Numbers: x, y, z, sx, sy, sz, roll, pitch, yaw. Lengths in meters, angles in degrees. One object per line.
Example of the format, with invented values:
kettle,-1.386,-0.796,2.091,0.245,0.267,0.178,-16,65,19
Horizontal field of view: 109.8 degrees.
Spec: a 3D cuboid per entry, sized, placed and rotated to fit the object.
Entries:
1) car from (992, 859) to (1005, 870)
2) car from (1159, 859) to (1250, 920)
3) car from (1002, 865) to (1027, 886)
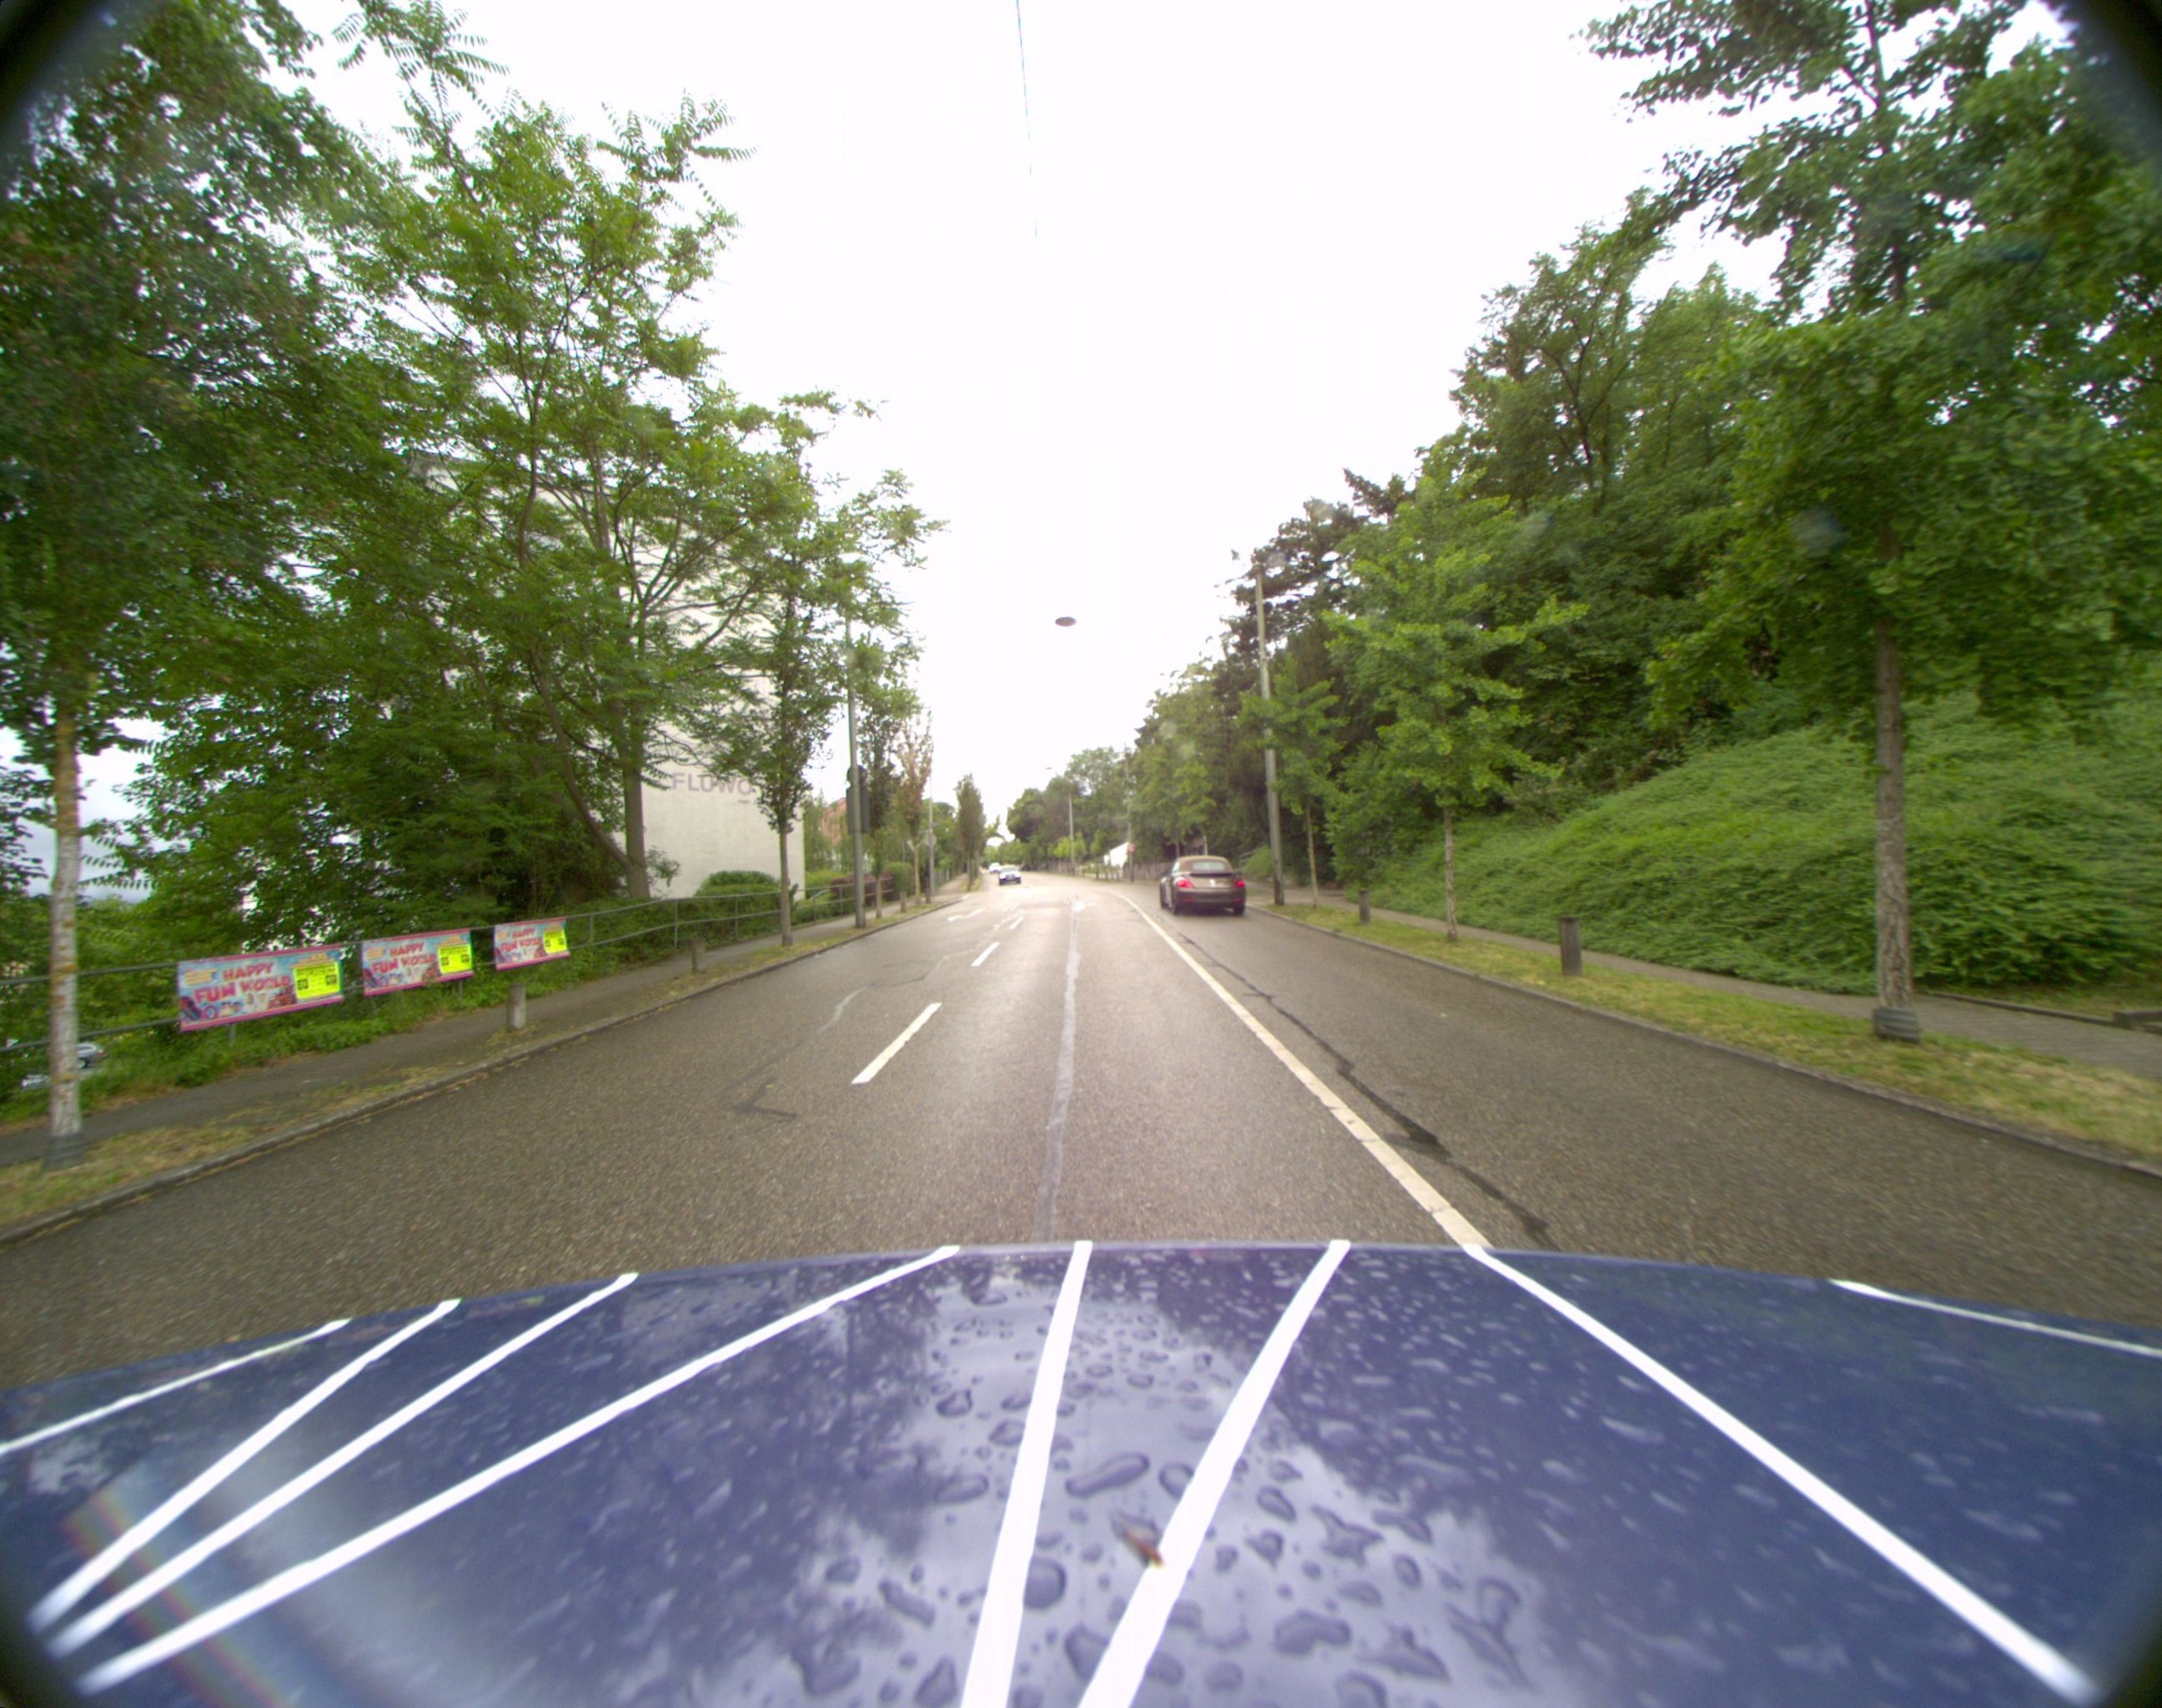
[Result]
car,-13.695,1.762,126.259,1.835,1.609,4.349,-3,1,-3
car,3.166,0.857,20.203,1.782,1.440,4.000,0,0,0
car,-5.854,1.853,67.391,1.834,1.609,4.292,-3,1,0
